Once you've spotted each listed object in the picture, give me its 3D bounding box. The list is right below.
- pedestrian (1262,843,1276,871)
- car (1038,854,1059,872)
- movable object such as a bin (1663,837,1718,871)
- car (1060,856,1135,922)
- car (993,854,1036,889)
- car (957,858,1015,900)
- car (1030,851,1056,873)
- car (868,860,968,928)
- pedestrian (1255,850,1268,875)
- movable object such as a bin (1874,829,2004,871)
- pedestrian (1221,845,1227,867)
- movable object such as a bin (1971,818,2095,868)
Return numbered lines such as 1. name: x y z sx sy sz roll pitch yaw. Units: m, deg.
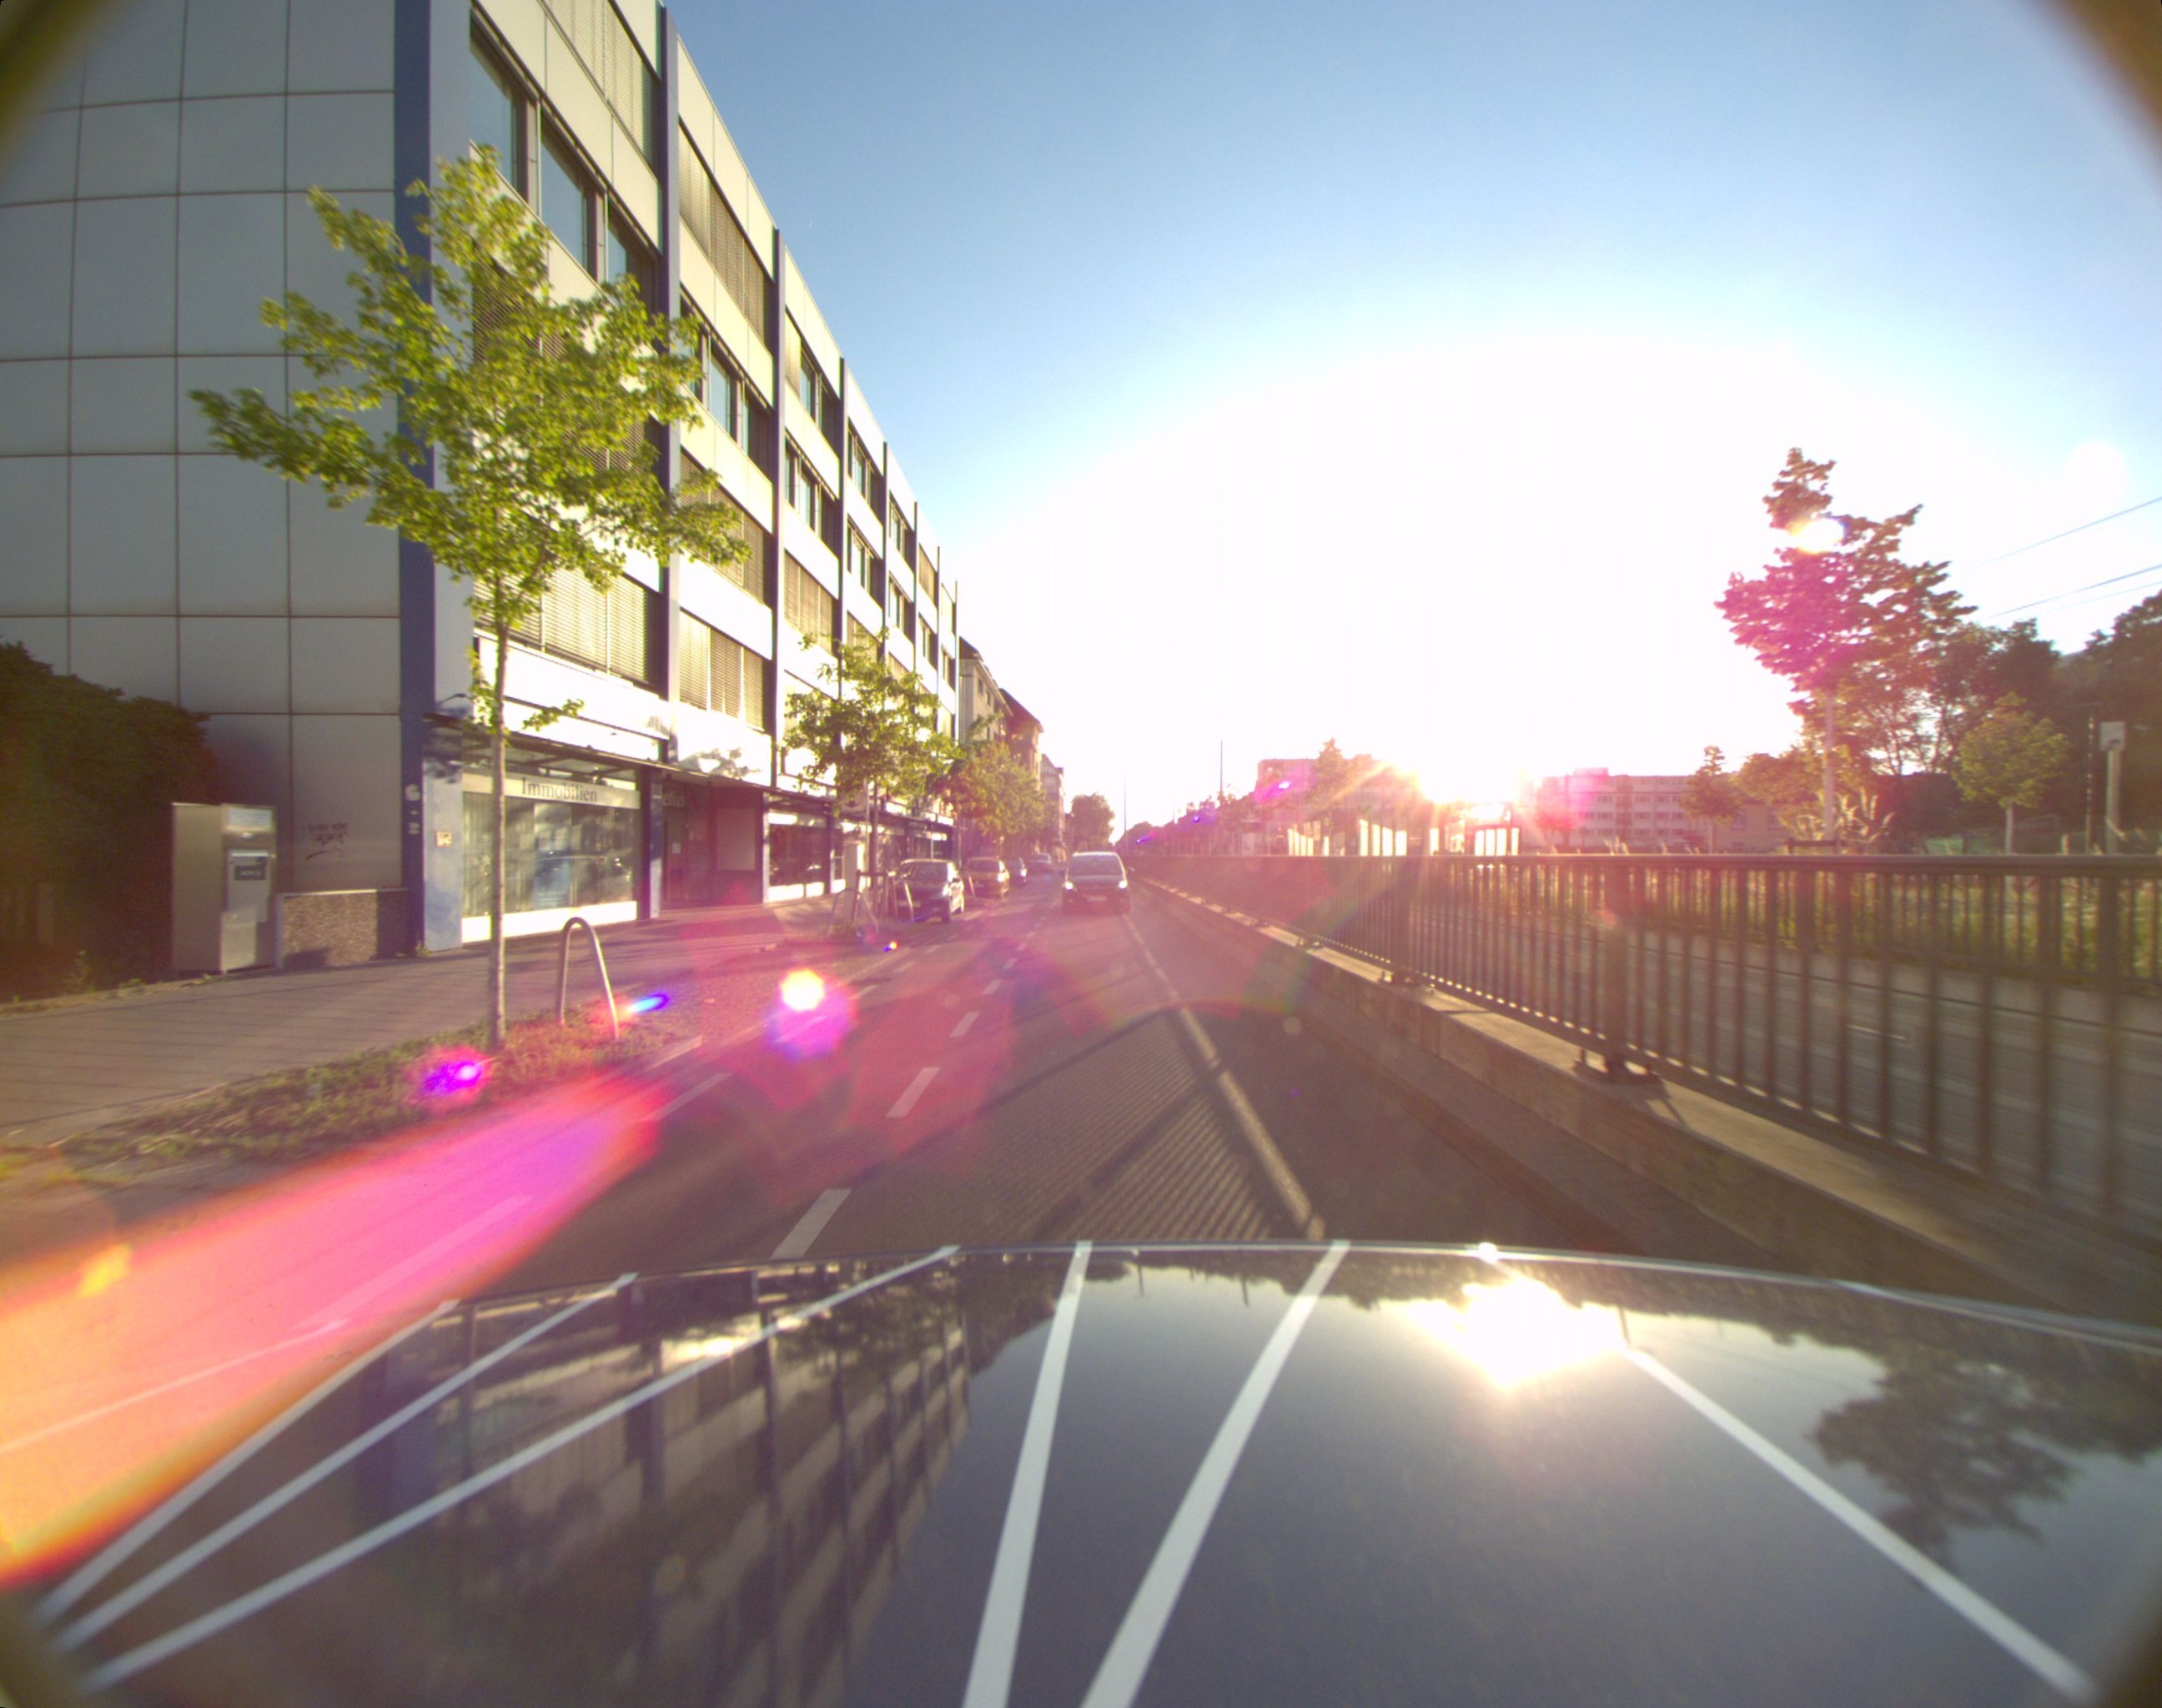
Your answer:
1. pedestrian: 11.828 0.174 47.856 0.636 1.719 0.635 0 0 -12
2. car: -2.851 0.763 67.581 1.674 1.509 3.601 3 0 -1
3. movable object such as a bin: 49.082 -0.007 61.266 1.996 2.690 4.004 0 0 14
4. car: 0.400 0.859 20.564 1.800 1.609 4.387 0 0 0
5. car: -3.340 0.846 38.936 1.824 1.557 4.809 3 0 -1
6. car: -3.574 0.897 29.189 1.688 1.446 4.129 1 0 0
7. car: -3.079 0.606 61.750 1.761 1.644 4.528 2 0 1
8. car: -3.949 0.916 19.041 1.824 1.446 4.127 1 0 -3
9. pedestrian: 12.471 0.589 52.514 0.727 1.734 0.636 0 0 -7
10. movable object such as a bin: 49.056 -0.215 43.631 1.998 2.233 4.940 0 0 3
11. pedestrian: 11.920 0.150 63.309 0.472 1.776 0.626 0 1 8
12. movable object such as a bin: 53.355 -0.588 42.712 1.998 2.690 4.001 0 0 3
